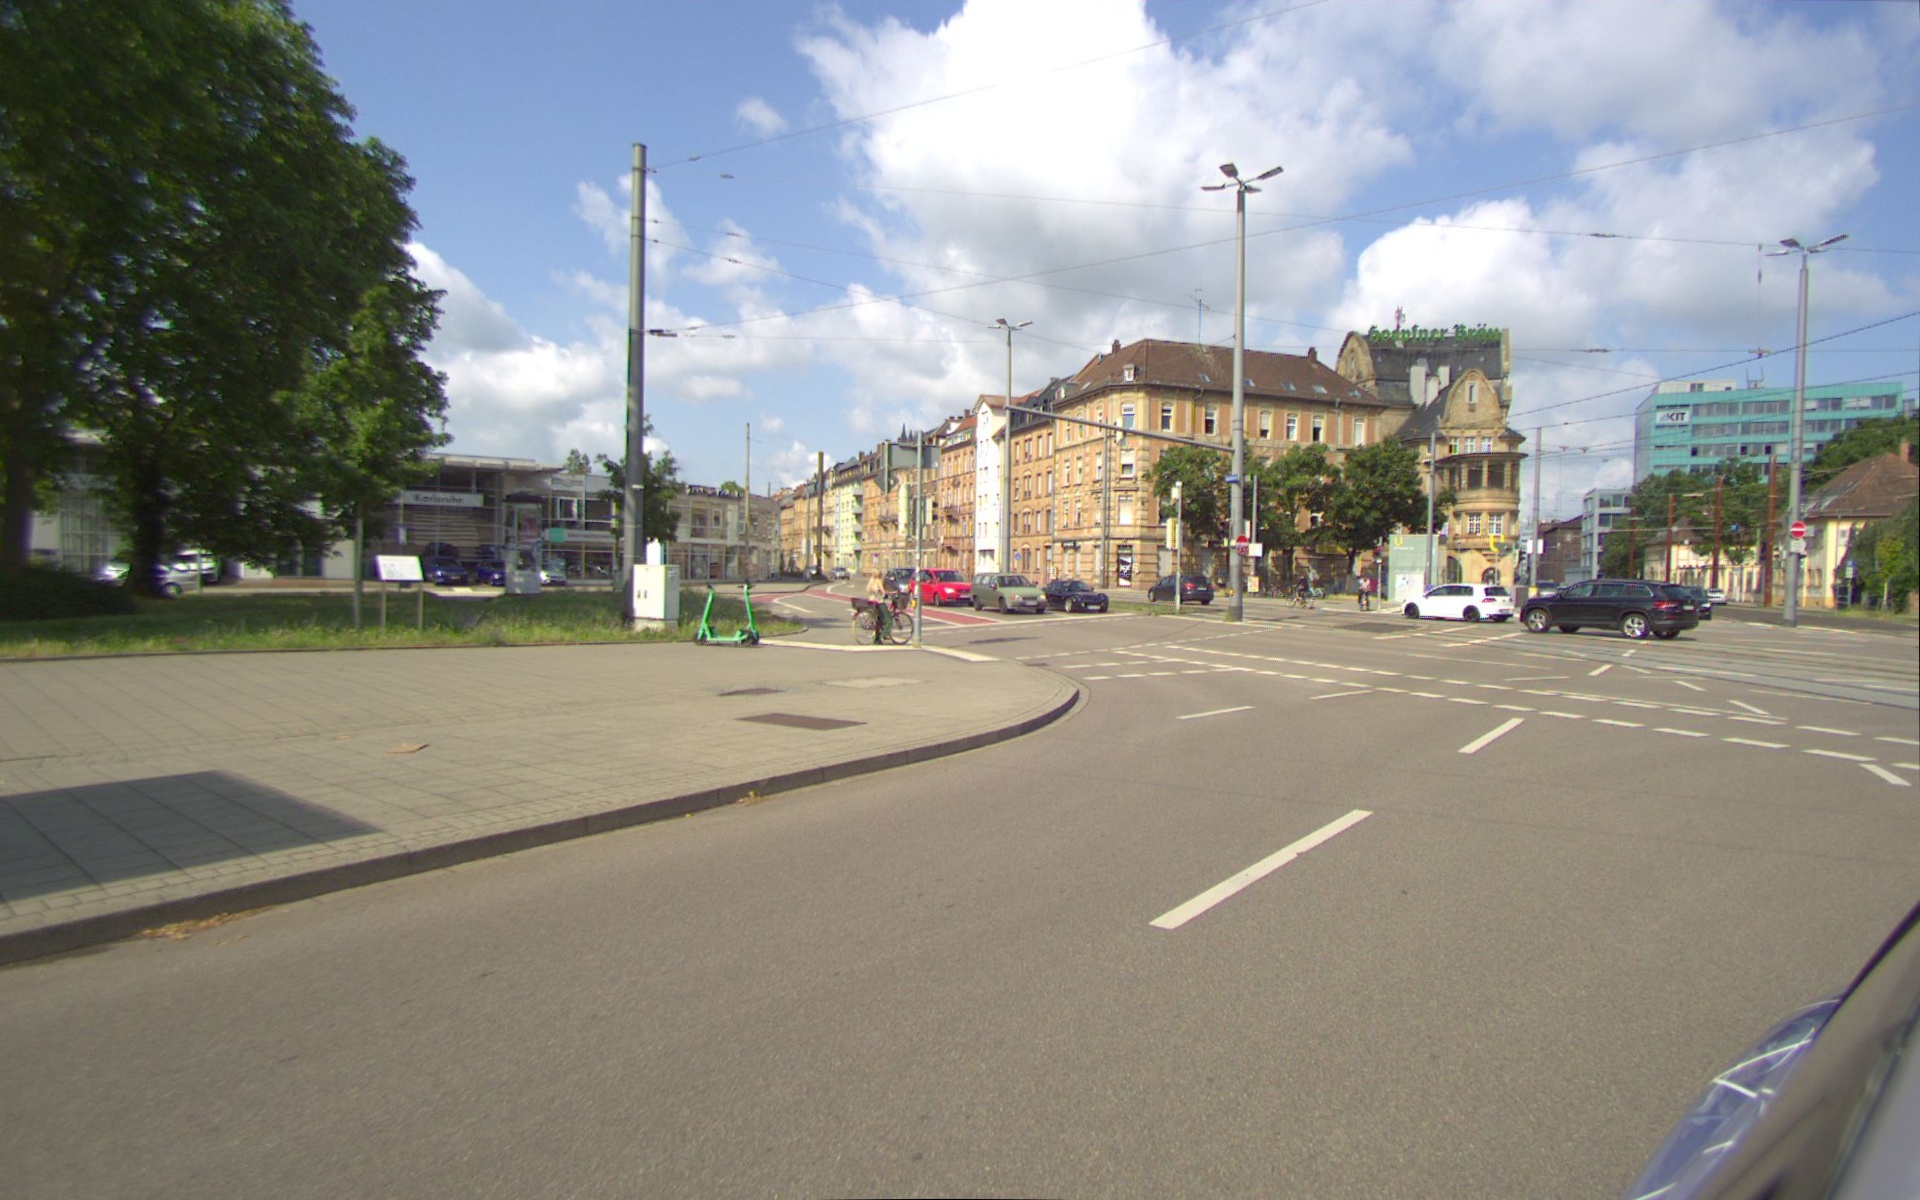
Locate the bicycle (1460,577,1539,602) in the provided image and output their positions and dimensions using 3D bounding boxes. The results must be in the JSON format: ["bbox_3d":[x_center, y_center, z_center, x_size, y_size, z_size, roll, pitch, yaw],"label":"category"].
[{"bbox_3d":[24.821,-0.473,46.630,0.977,1.040,3.109,-2,0,-34],"label":"bicycle"}]

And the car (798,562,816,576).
[{"bbox_3d":[-19.792,-4.035,130.723,1.748,1.727,4.010,0,2,-17],"label":"car"}]

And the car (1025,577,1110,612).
[{"bbox_3d":[3.912,-0.244,37.451,1.593,1.175,4.009,-3,2,-18],"label":"car"}]

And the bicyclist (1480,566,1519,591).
[{"bbox_3d":[24.832,-0.991,46.585,0.975,1.040,1.215,-2,-1,-34],"label":"bicyclist"}]

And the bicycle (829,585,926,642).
[{"bbox_3d":[-1.732,0.299,21.469,1.958,1.142,0.788,3,-1,-43],"label":"bicycle"}]

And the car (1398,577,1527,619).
[{"bbox_3d":[18.875,-0.073,38.218,1.650,1.464,4.239,-1,0,-25],"label":"car"}]

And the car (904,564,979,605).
[{"bbox_3d":[-0.822,-0.685,41.987,1.958,1.537,4.009,-3,2,-18],"label":"car"}]

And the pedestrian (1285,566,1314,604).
[{"bbox_3d":[16.903,-0.765,50.430,0.975,1.864,0.998,-2,2,-8],"label":"pedestrian"}]

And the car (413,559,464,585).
[{"bbox_3d":[-30.278,-1.625,58.720,1.891,1.462,3.997,0,2,-39],"label":"car"}]

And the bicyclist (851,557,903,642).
[{"bbox_3d":[-1.754,-0.024,21.461,0.814,1.767,0.710,1,1,-42],"label":"bicyclist"}]

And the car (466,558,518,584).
[{"bbox_3d":[-27.935,-1.734,60.325,1.891,1.462,3.997,0,2,-39],"label":"car"}]

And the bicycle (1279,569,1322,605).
[{"bbox_3d":[16.930,-0.668,50.337,0.988,1.746,2.473,-2,2,-8],"label":"bicycle"}]

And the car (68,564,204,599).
[{"bbox_3d":[-37.235,-0.843,45.922,4.460,1.370,2.002,-3,2,-30],"label":"car"}]

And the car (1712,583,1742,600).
[{"bbox_3d":[75.176,-0.827,99.284,1.741,1.549,3.961,1,2,29],"label":"car"}]

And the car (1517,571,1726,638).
[{"bbox_3d":[19.045,0.053,29.375,1.960,1.689,4.690,-1,2,-30],"label":"car"}]

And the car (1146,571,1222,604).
[{"bbox_3d":[11.129,-0.670,50.492,1.736,1.547,4.265,-2,2,-18],"label":"car"}]

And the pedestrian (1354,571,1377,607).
[{"bbox_3d":[19.378,-0.536,48.353,0.782,1.662,0.708,0,2,-41],"label":"pedestrian"}]

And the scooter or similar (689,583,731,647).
[{"bbox_3d":[-4.685,0.267,18.971,0.376,1.172,0.926,2,1,12],"label":"scooter or similar"}]

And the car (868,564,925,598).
[{"bbox_3d":[-3.153,-0.971,49.290,1.958,1.571,4.010,0,2,-16],"label":"car"}]

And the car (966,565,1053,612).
[{"bbox_3d":[1.716,-0.448,36.537,1.788,1.531,4.009,-3,2,-18],"label":"car"}]

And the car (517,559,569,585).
[{"bbox_3d":[-26.145,-1.727,63.353,1.892,1.571,3.995,-2,2,-39],"label":"car"}]

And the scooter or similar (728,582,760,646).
[{"bbox_3d":[-4.061,0.244,19.020,0.374,1.172,0.929,2,1,0],"label":"scooter or similar"}]

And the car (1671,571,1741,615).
[{"bbox_3d":[33.999,-0.354,46.243,1.982,1.760,4.299,-1,2,29],"label":"car"}]

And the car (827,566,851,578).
[{"bbox_3d":[-13.867,-3.184,115.601,1.958,1.348,4.010,0,2,-17],"label":"car"}]
